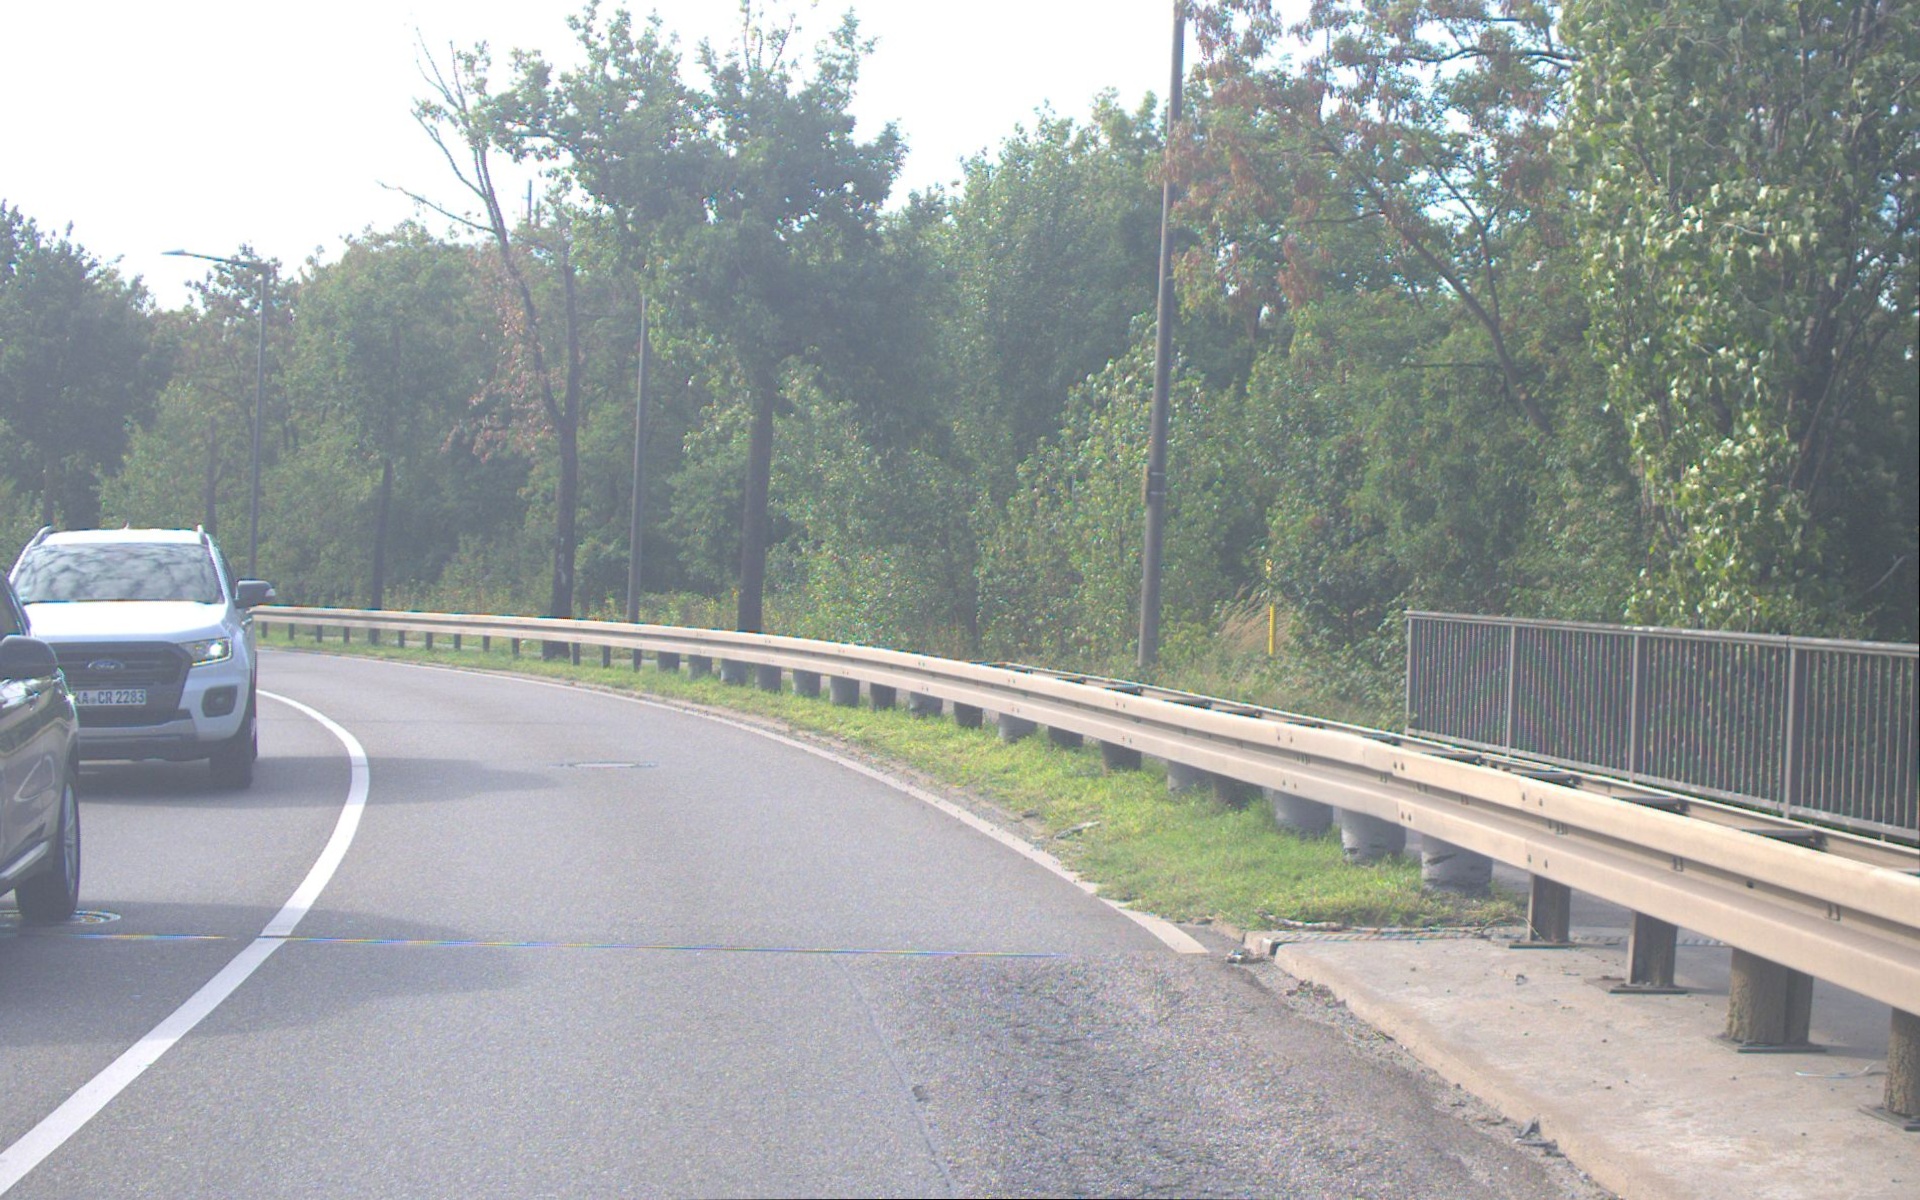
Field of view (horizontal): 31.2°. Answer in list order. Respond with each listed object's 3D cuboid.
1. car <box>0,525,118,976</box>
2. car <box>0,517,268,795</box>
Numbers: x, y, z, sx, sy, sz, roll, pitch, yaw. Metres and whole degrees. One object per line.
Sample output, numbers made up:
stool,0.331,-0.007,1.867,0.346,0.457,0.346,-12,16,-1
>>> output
car,-4.596,0.544,13.639,1.889,1.643,4.643,-1,1,-7
car,-6.052,0.335,25.090,1.900,1.804,5.405,0,1,-11
